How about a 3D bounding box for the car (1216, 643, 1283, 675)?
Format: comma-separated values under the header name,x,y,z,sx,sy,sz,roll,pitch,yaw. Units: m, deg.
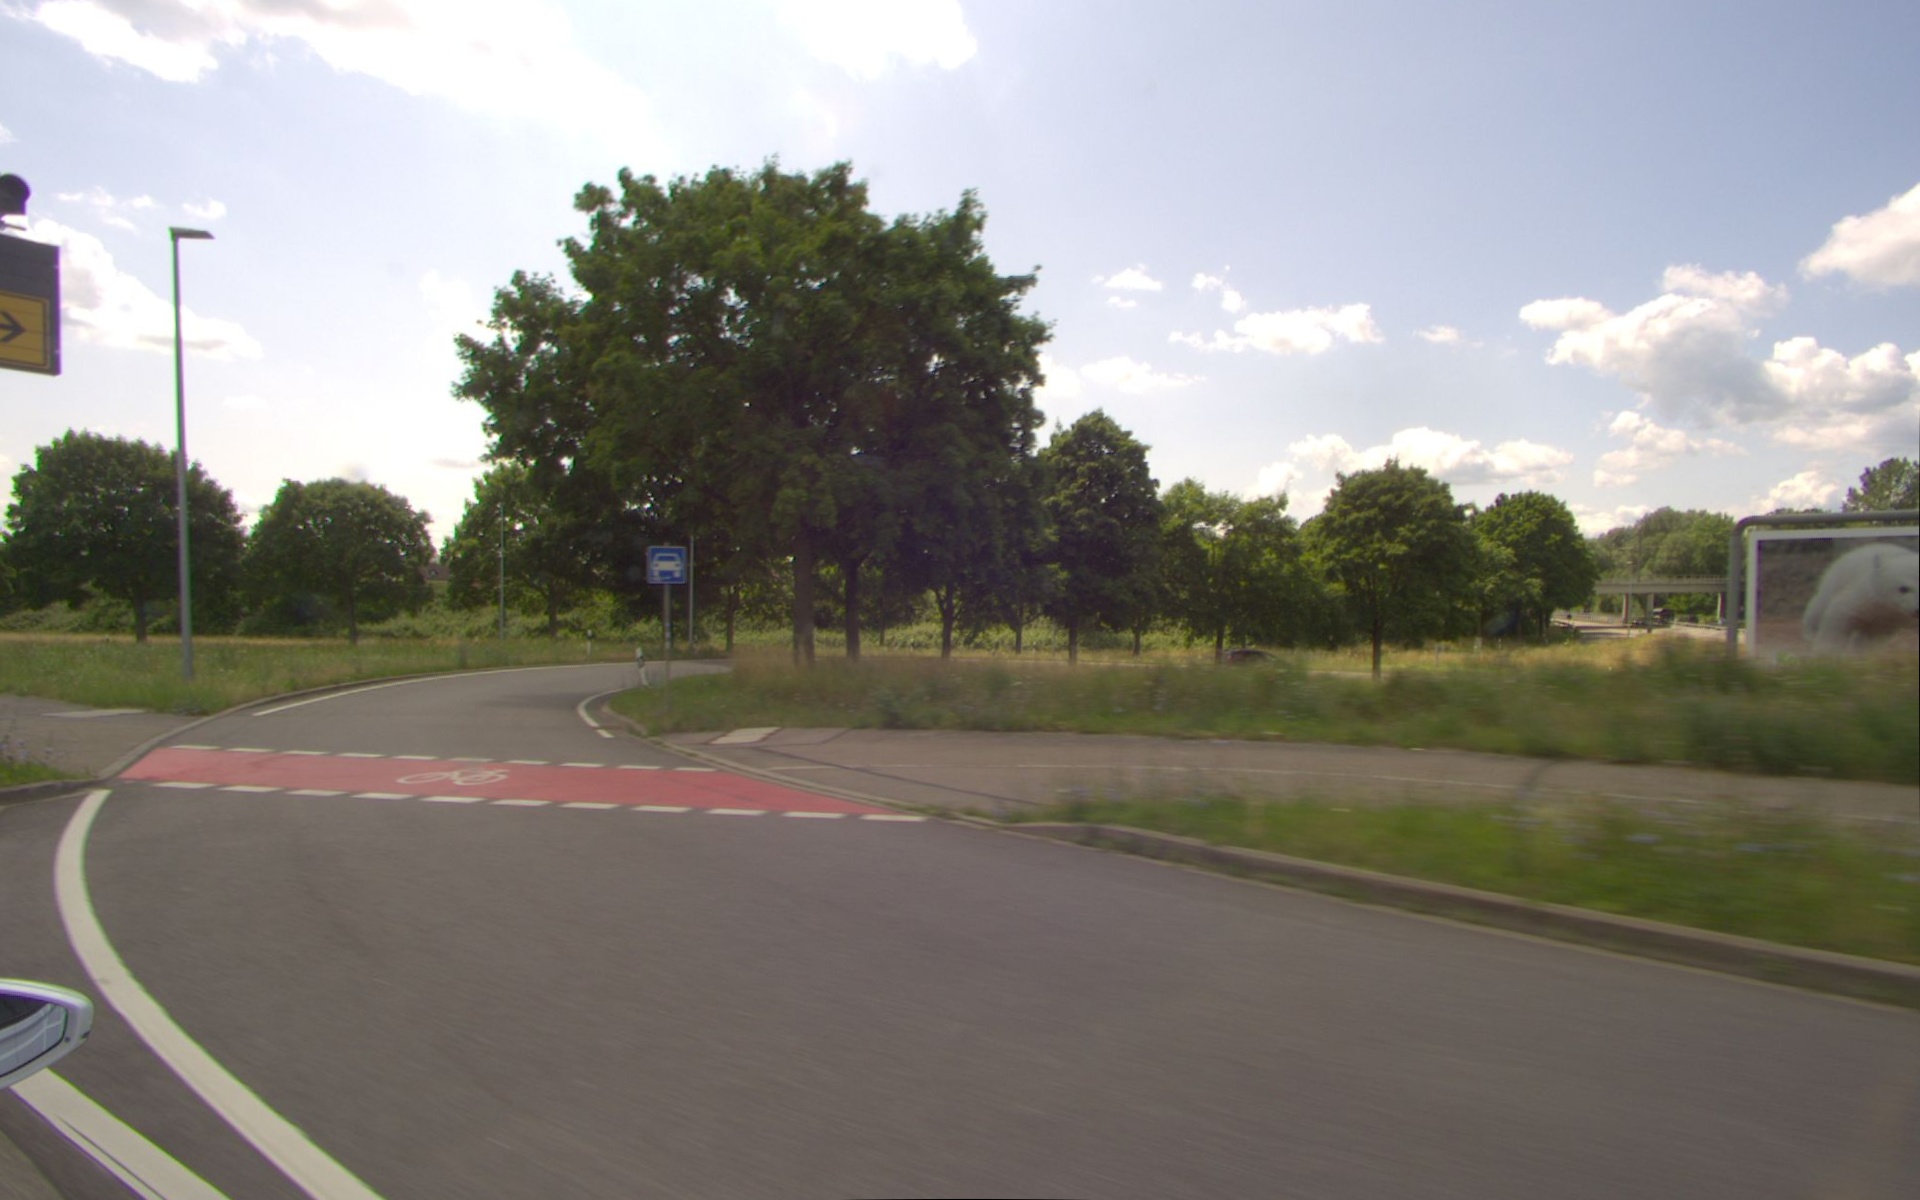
name,x,y,z,sx,sy,sz,roll,pitch,yaw
car,19.876,4.043,68.819,3.925,2.040,1.998,1,0,-11
